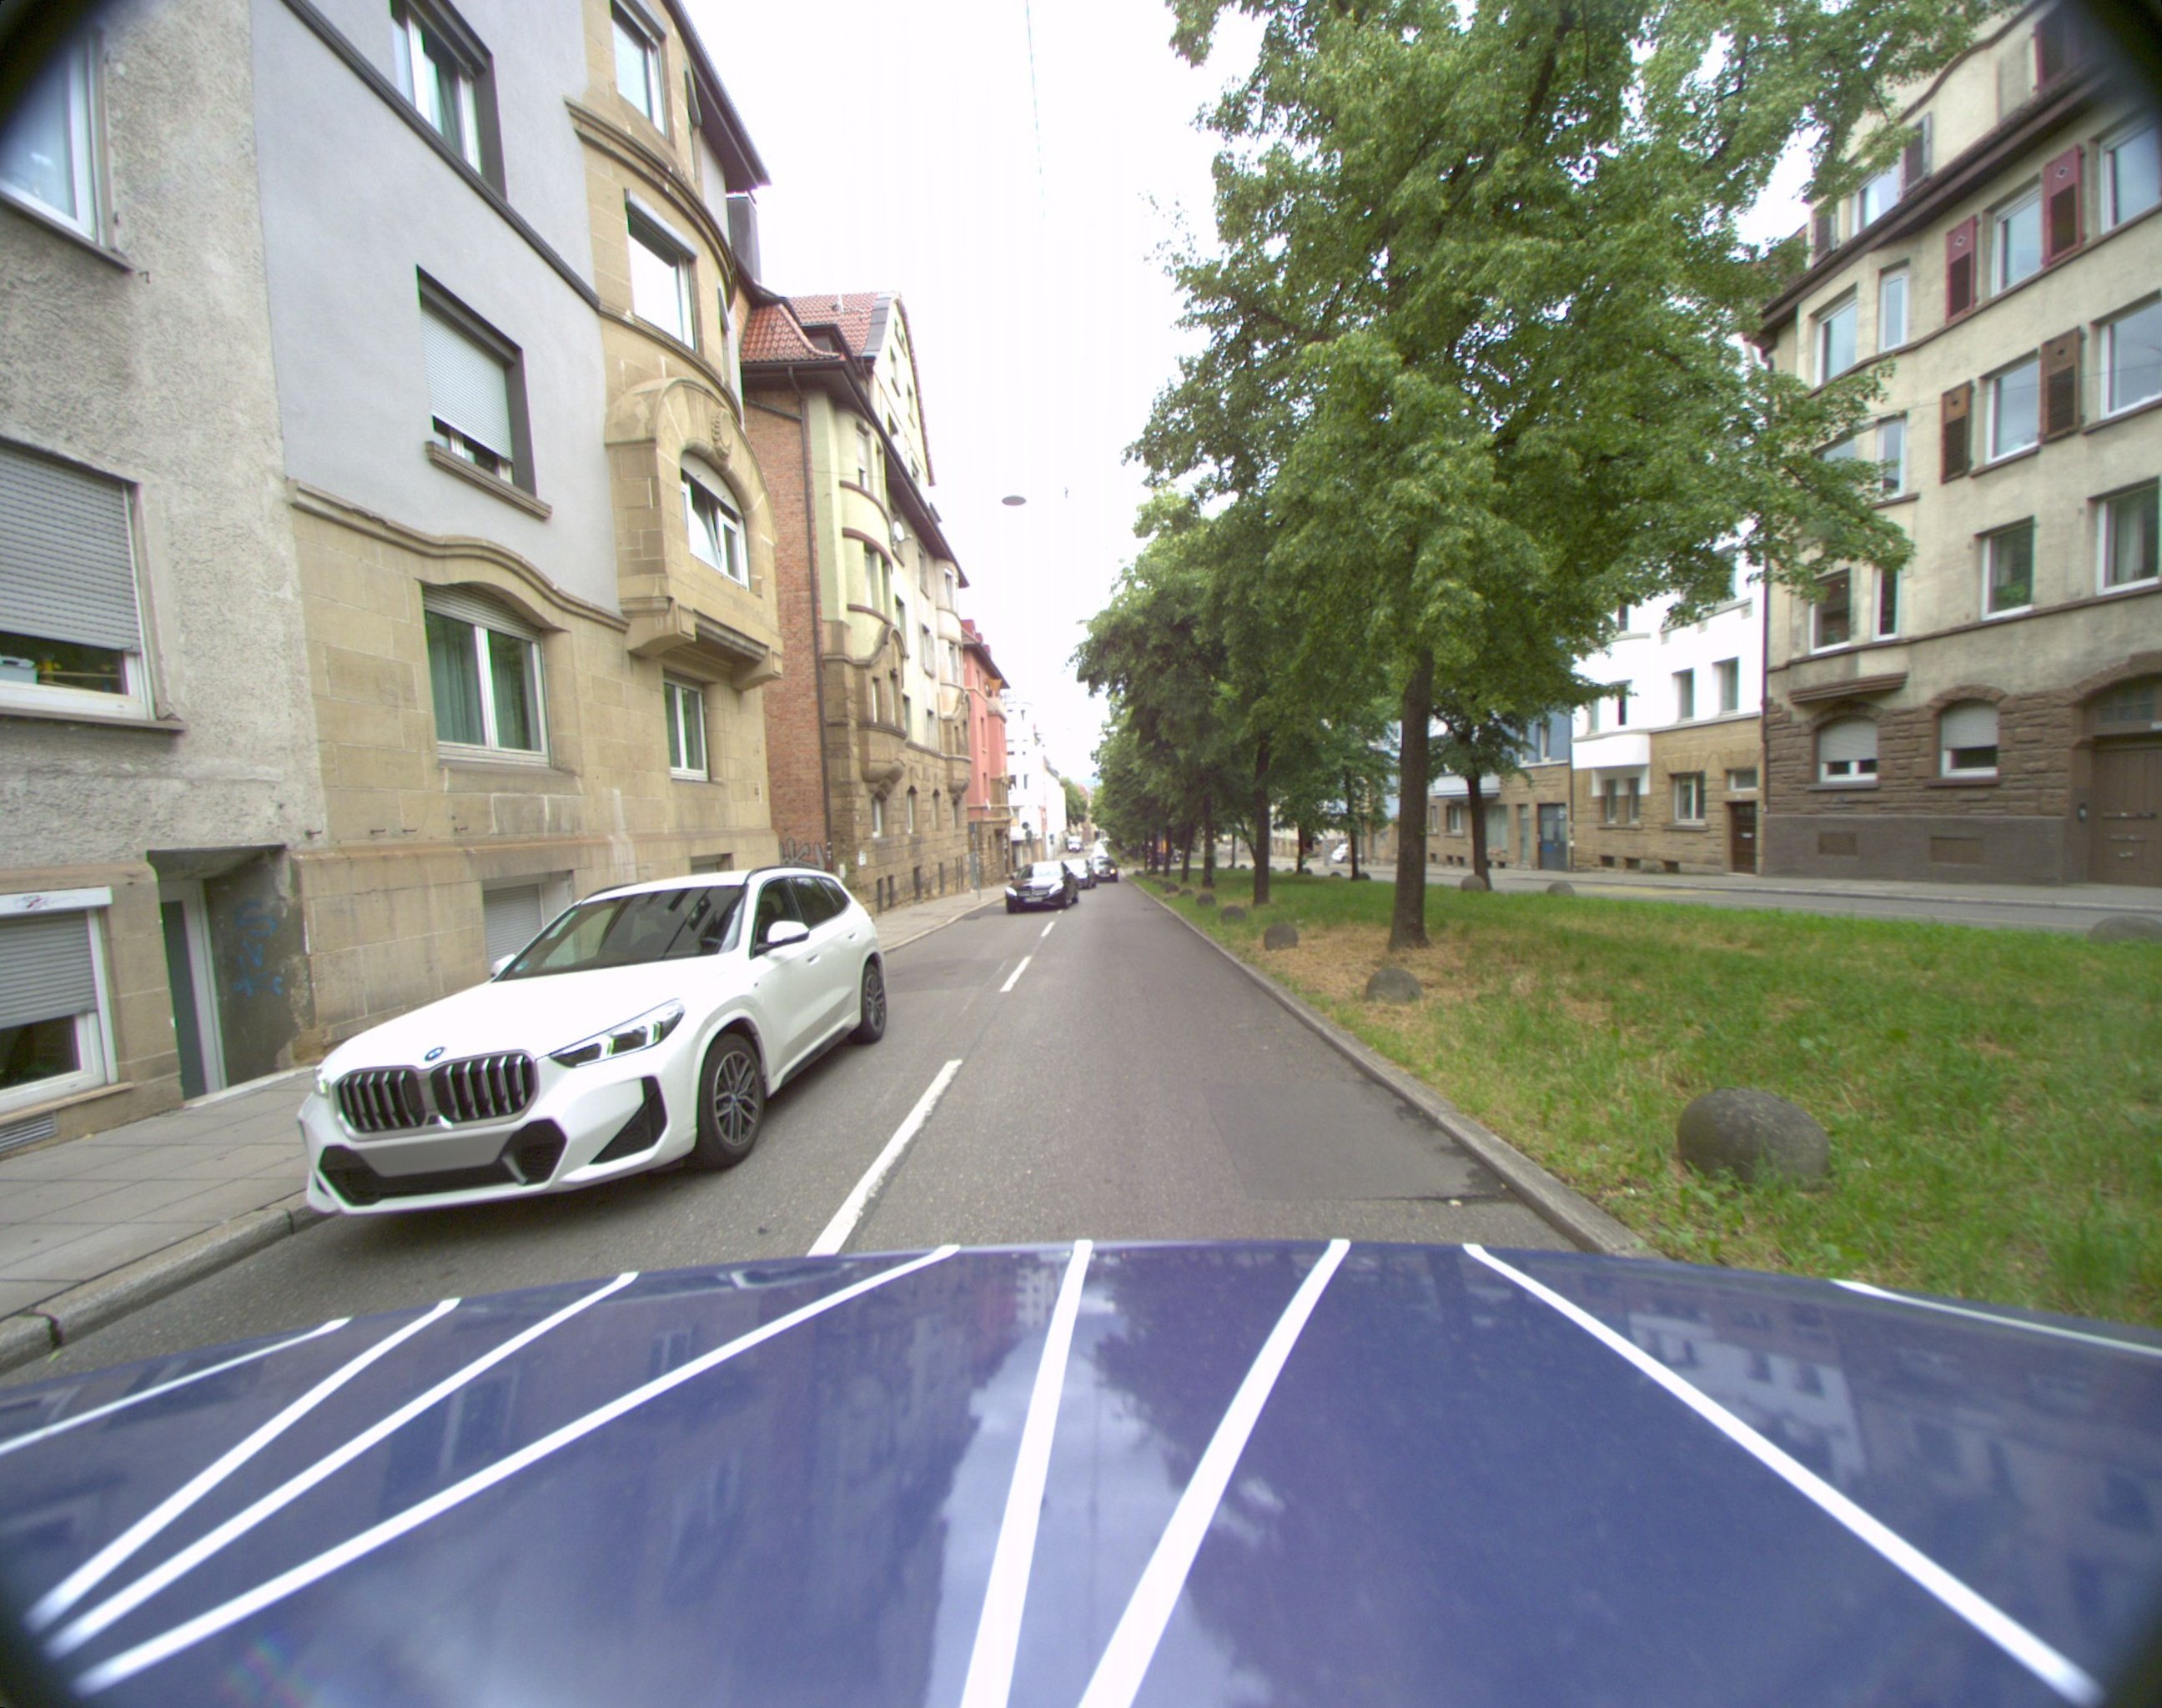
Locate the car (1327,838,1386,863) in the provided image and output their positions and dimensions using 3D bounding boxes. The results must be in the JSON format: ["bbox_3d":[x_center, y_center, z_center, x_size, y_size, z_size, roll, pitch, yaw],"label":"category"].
[{"bbox_3d":[22.124,-0.305,61.132,4.007,1.462,1.870,-7,3,-1],"label":"car"}]

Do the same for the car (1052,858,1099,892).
[{"bbox_3d":[-0.193,0.995,37.744,1.853,1.361,4.282,-5,0,5],"label":"car"}]

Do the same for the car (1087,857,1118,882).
[{"bbox_3d":[1.352,0.930,46.648,1.783,1.420,4.281,-1,0,2],"label":"car"}]

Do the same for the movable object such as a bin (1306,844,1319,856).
[{"bbox_3d":[20.854,-0.371,68.448,0.888,0.988,0.668,-5,2,0],"label":"movable object such as a bin"}]

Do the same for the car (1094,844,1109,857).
[{"bbox_3d":[2.446,-0.422,90.968,1.783,1.420,4.281,-1,0,2],"label":"car"}]

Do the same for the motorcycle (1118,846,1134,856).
[{"bbox_3d":[5.691,-0.433,96.414,2.040,1.126,0.454,-3,4,2],"label":"motorcycle"}]

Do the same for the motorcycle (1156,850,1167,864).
[{"bbox_3d":[7.372,0.293,69.387,0.888,1.090,2.481,-3,3,9],"label":"motorcycle"}]

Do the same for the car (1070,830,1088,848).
[{"bbox_3d":[-0.257,-2.692,136.469,3.026,3.045,7.165,-2,3,0],"label":"car"}]

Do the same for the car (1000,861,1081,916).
[{"bbox_3d":[-1.158,1.005,23.701,1.853,1.361,4.282,-5,0,5],"label":"car"}]

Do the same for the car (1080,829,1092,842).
[{"bbox_3d":[1.337,-4.834,194.550,3.026,3.045,7.165,-2,3,0],"label":"car"}]

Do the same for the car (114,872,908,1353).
[{"bbox_3d":[-2.789,1.089,5.300,1.854,1.595,4.563,-7,0,1],"label":"car"}]
